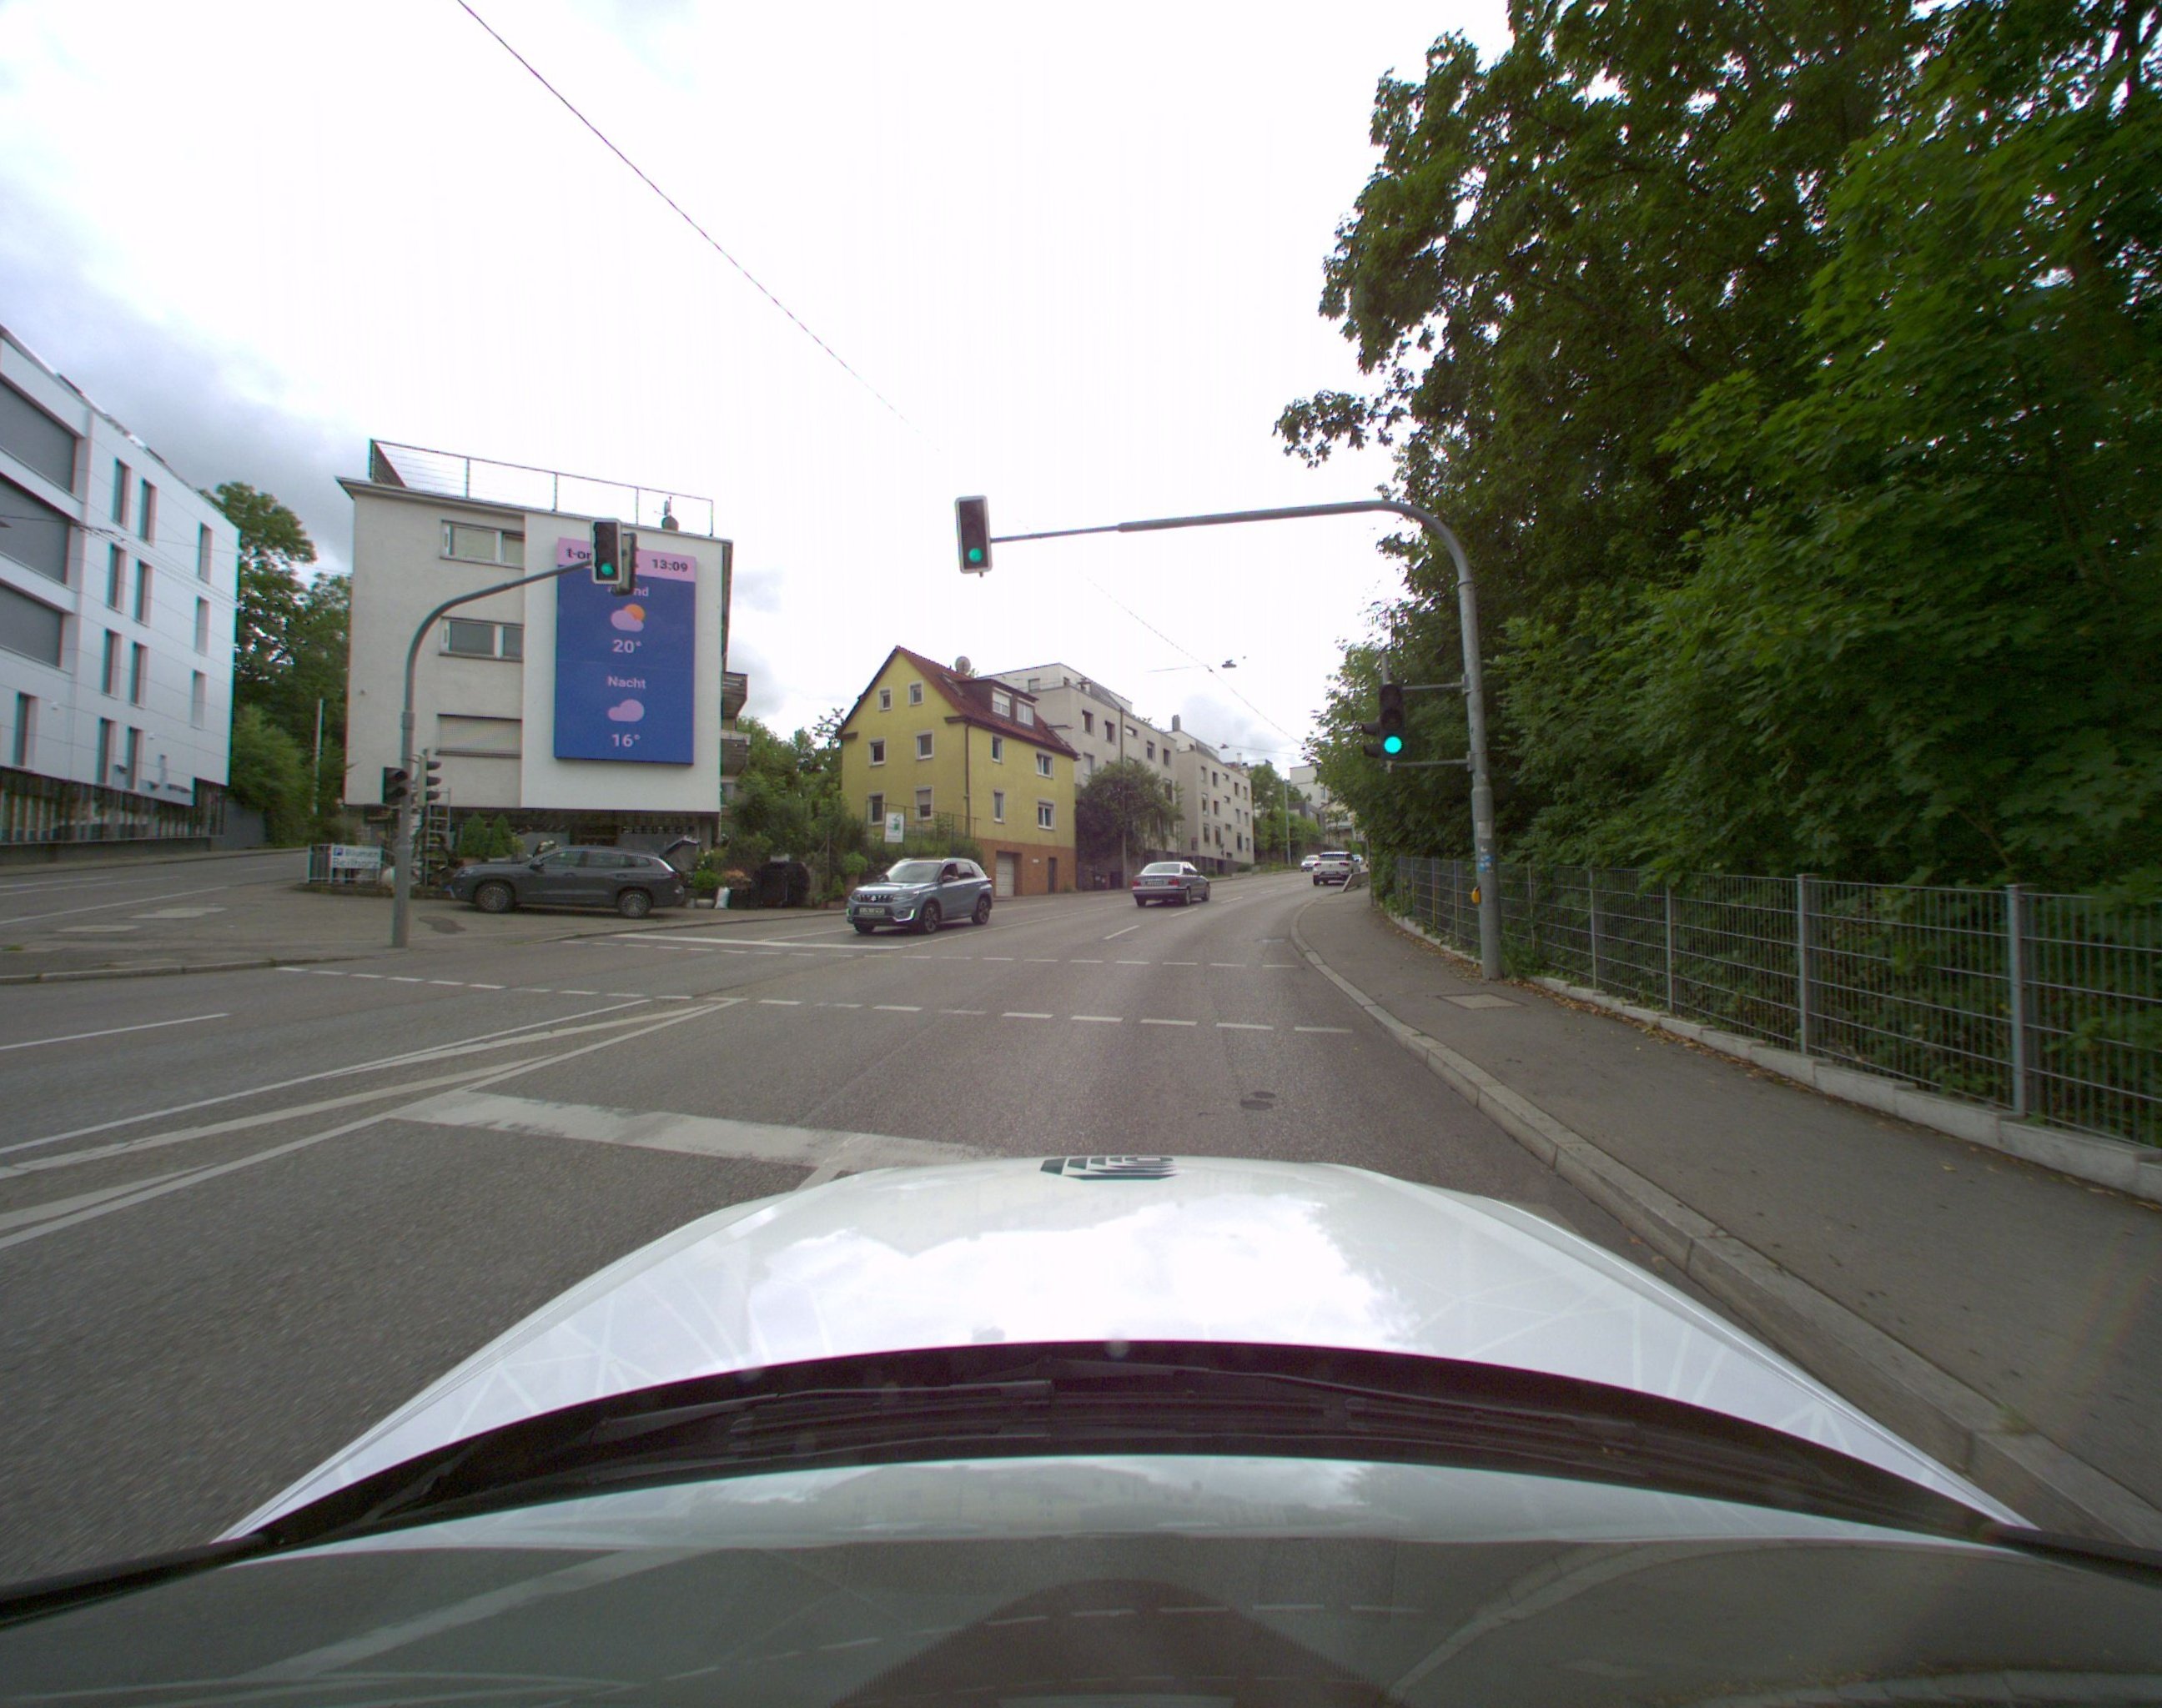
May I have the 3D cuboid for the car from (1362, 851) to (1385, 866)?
[{"bbox_3d":[29.764,0.456,82.902,1.690,1.464,4.024,-3,-1,26],"label":"car"}]

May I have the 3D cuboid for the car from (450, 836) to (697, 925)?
[{"bbox_3d":[-12.068,0.633,19.849,4.709,1.712,2.300,5,0,-25],"label":"car"}]

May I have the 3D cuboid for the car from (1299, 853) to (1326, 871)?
[{"bbox_3d":[23.255,0.829,81.802,1.728,1.614,4.081,-5,-2,27],"label":"car"}]

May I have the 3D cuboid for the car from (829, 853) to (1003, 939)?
[{"bbox_3d":[-3.551,0.862,18.426,1.880,1.695,4.368,-1,-1,19],"label":"car"}]

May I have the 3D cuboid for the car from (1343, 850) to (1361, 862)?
[{"bbox_3d":[37.808,0.266,113.521,1.757,1.464,4.216,-4,-1,25],"label":"car"}]

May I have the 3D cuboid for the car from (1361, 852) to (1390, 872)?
[{"bbox_3d":[22.890,0.606,63.298,1.691,1.464,4.023,0,-1,26],"label":"car"}]

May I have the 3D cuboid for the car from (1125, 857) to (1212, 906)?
[{"bbox_3d":[2.904,0.833,26.278,1.691,1.464,4.021,0,-1,22],"label":"car"}]

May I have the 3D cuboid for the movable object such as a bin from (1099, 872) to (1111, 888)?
[{"bbox_3d":[1.336,1.448,45.711,0.564,0.885,0.612,0,-1,10],"label":"movable object such as a bin"}]

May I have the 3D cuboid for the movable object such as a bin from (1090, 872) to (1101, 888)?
[{"bbox_3d":[0.829,1.464,46.428,0.564,0.885,0.612,0,-1,10],"label":"movable object such as a bin"}]

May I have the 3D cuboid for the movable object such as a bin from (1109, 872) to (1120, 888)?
[{"bbox_3d":[1.885,1.438,45.930,0.564,0.885,0.612,0,-1,10],"label":"movable object such as a bin"}]

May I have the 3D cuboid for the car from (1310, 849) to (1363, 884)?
[{"bbox_3d":[12.334,0.601,39.141,1.763,1.579,4.024,-1,-1,27],"label":"car"}]

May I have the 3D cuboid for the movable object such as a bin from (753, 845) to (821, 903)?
[{"bbox_3d":[-9.330,0.631,25.988,1.763,1.779,1.847,0,-1,-12],"label":"movable object such as a bin"}]
